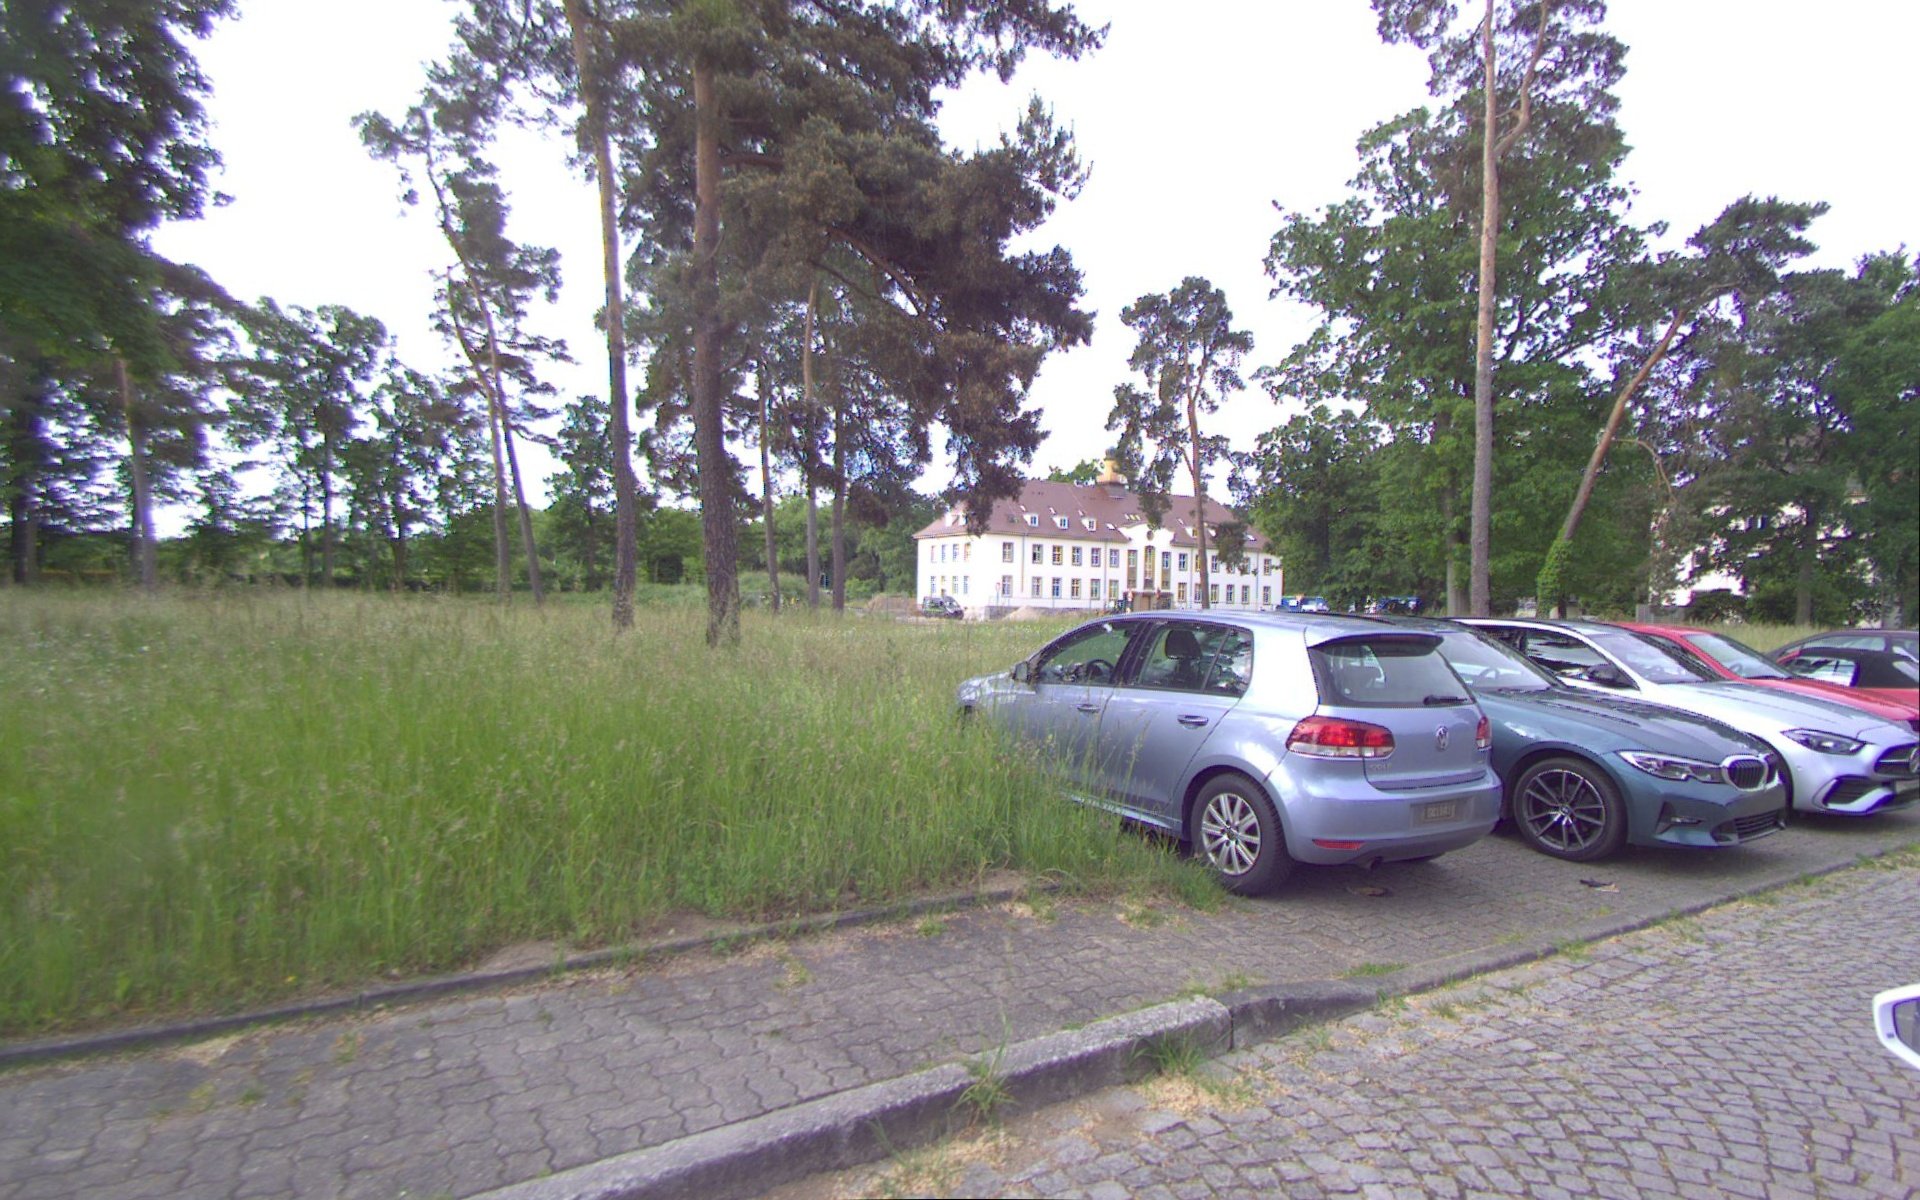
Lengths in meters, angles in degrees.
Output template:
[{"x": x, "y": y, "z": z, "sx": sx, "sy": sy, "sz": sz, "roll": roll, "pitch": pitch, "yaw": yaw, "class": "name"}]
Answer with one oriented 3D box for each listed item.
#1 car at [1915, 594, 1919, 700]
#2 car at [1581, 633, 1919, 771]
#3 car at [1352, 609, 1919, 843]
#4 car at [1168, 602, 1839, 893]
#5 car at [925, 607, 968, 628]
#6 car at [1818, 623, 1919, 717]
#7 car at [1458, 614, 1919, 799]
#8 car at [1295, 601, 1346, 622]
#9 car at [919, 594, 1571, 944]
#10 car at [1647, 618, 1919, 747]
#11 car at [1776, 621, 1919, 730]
[{"x": 21.558, "y": 0.983, "z": 18.960, "sx": 2.091, "sy": 2.150, "sz": 4.756, "roll": 1, "pitch": 0, "yaw": -32, "class": "car"}, {"x": 9.988, "y": 1.113, "z": 11.881, "sx": 1.809, "sy": 1.283, "sz": 4.146, "roll": 1, "pitch": 0, "yaw": -30, "class": "car"}, {"x": 6.094, "y": 0.898, "z": 9.240, "sx": 1.915, "sy": 1.528, "sz": 4.348, "roll": 1, "pitch": 0, "yaw": -33, "class": "car"}, {"x": 3.854, "y": 0.835, "z": 7.862, "sx": 1.916, "sy": 1.568, "sz": 4.223, "roll": 1, "pitch": 0, "yaw": -34, "class": "car"}, {"x": -1.498, "y": 1.894, "z": 109.900, "sx": 1.983, "sy": 2.229, "sz": 4.982, "roll": 1, "pitch": 0, "yaw": -38, "class": "car"}, {"x": 16.961, "y": 1.190, "z": 16.450, "sx": 1.824, "sy": 1.517, "sz": 4.048, "roll": 1, "pitch": 0, "yaw": -30, "class": "car"}, {"x": 7.879, "y": 0.952, "z": 10.845, "sx": 1.844, "sy": 1.496, "sz": 4.144, "roll": 1, "pitch": 0, "yaw": -31, "class": "car"}, {"x": 36.873, "y": 1.151, "z": 102.769, "sx": 5.167, "sy": 2.040, "sz": 1.985, "roll": 2, "pitch": -1, "yaw": -29, "class": "car"}, {"x": 1.523, "y": 0.764, "z": 6.715, "sx": 1.884, "sy": 1.563, "sz": 3.965, "roll": 1, "pitch": 0, "yaw": -32, "class": "car"}, {"x": 12.032, "y": 1.052, "z": 13.585, "sx": 1.824, "sy": 1.502, "sz": 4.146, "roll": 1, "pitch": 0, "yaw": -30, "class": "car"}, {"x": 14.703, "y": 1.119, "z": 14.515, "sx": 1.842, "sy": 1.511, "sz": 4.147, "roll": 1, "pitch": 0, "yaw": -29, "class": "car"}]
